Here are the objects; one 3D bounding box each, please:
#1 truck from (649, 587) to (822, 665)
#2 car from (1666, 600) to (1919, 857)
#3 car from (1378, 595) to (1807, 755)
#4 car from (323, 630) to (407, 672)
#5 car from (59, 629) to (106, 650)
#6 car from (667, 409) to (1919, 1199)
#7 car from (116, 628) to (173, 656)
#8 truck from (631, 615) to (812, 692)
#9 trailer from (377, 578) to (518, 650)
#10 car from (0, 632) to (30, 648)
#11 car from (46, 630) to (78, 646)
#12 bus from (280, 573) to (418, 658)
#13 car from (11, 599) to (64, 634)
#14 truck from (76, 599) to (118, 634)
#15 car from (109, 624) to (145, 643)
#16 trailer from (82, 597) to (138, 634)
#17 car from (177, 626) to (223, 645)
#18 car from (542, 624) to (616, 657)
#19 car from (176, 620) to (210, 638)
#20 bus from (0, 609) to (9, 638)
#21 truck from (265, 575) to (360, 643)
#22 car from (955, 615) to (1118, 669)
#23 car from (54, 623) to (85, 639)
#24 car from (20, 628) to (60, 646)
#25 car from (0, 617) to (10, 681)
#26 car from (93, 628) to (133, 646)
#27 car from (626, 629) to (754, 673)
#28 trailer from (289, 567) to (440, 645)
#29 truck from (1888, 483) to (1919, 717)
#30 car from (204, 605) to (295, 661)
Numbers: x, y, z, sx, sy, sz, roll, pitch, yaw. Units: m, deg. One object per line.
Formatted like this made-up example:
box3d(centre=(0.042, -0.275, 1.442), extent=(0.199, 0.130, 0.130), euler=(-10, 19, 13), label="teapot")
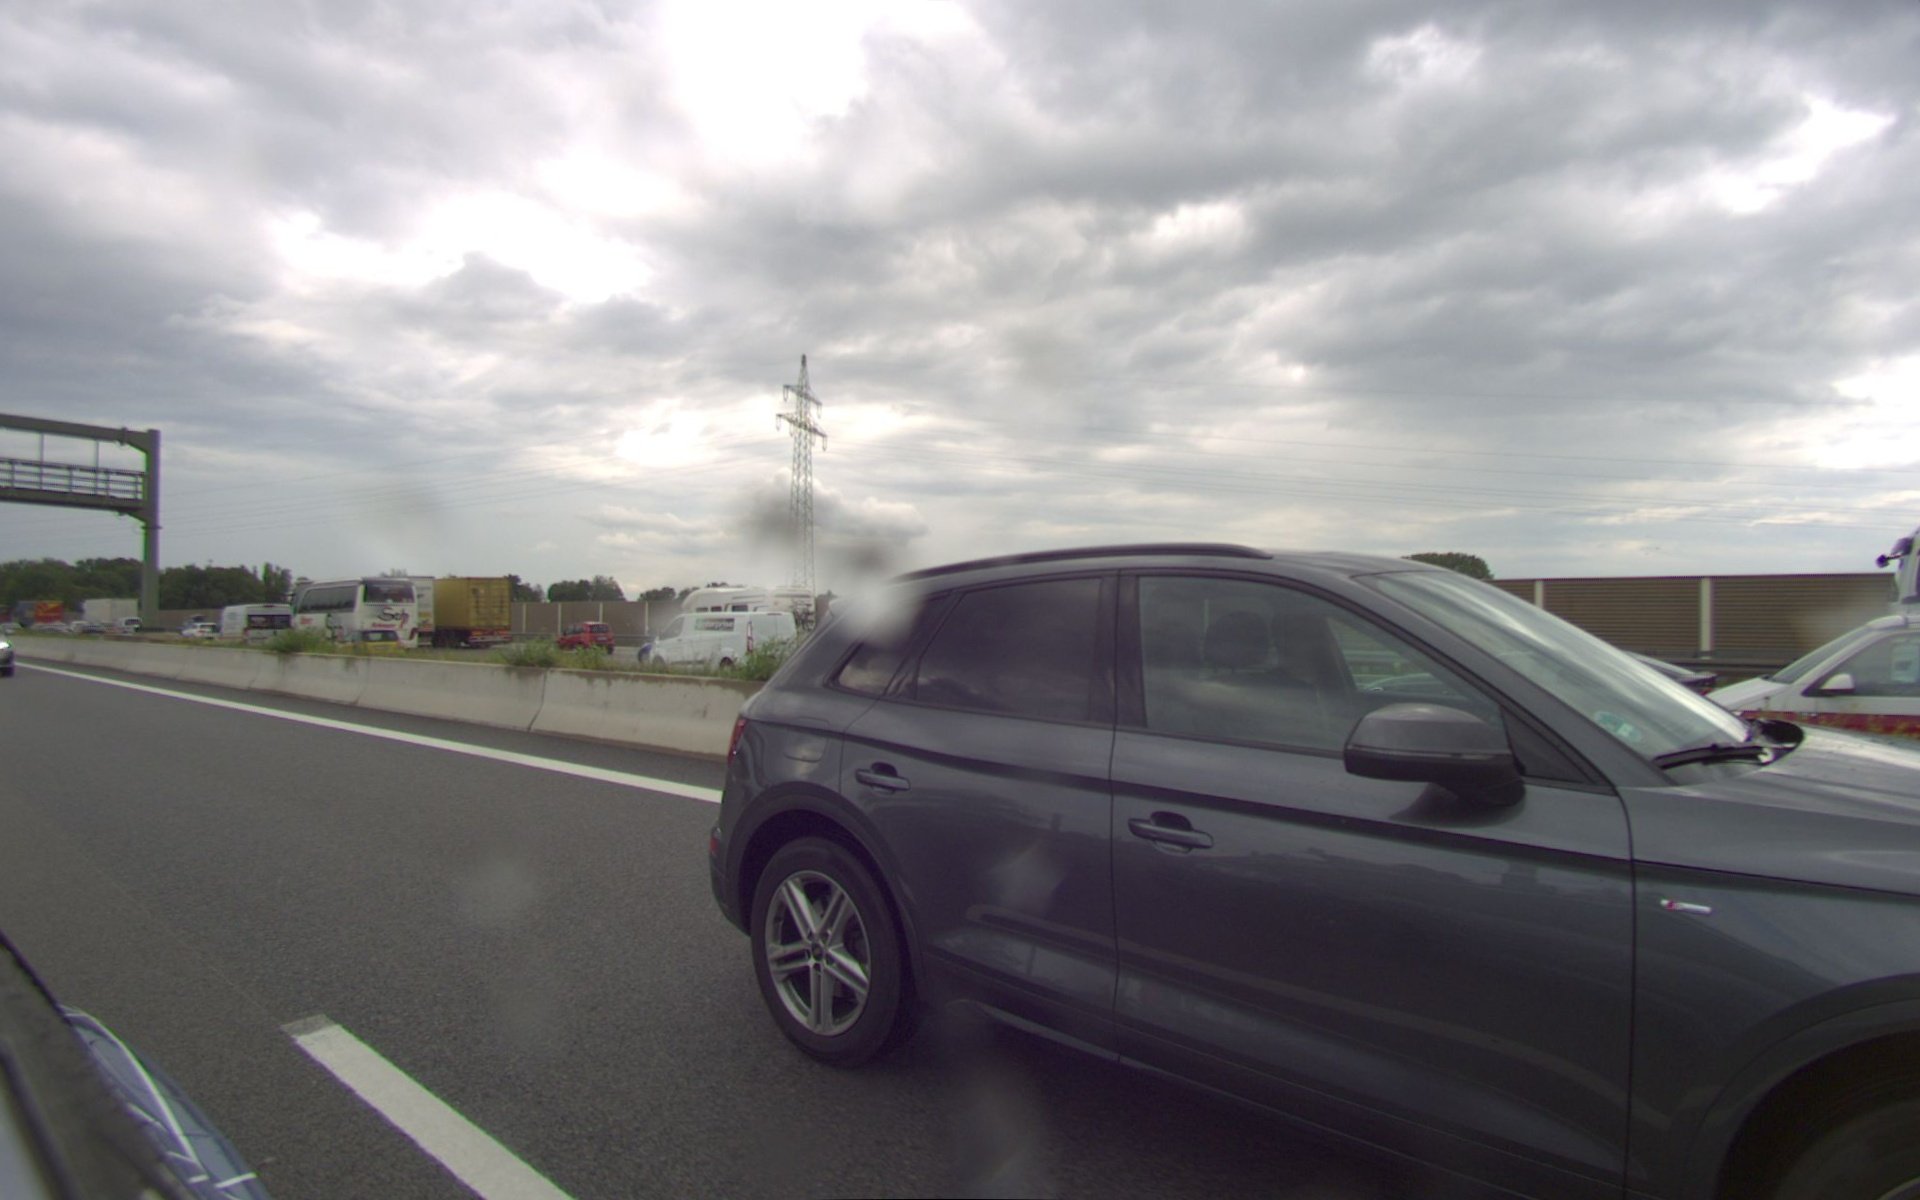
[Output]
box3d(centre=(-9.045, 1.018, 40.215), extent=(7.831, 2.835, 2.663), euler=(-1, -2, 42), label="truck")
box3d(centre=(9.844, 1.133, 9.099), extent=(5.511, 2.254, 2.206), euler=(-1, -2, 42), label="car")
box3d(centre=(9.915, 1.057, 16.217), extent=(5.539, 2.130, 2.220), euler=(-1, -2, 42), label="car")
box3d(centre=(-21.543, 1.809, 36.601), extent=(3.325, 1.399, 1.598), euler=(-1, -1, 40), label="car")
box3d(centre=(-62.245, 2.755, 71.758), extent=(4.585, 1.392, 1.770), euler=(-1, 0, 40), label="car")
box3d(centre=(1.477, 0.591, 2.717), extent=(5.166, 1.704, 1.888), euler=(-2, -2, 41), label="car")
box3d(centre=(-47.309, 2.412, 58.692), extent=(4.373, 1.551, 1.719), euler=(-1, 0, 40), label="car")
box3d(centre=(-6.931, 1.449, 29.017), extent=(5.541, 2.015, 2.221), euler=(-1, -2, 40), label="truck")
box3d(centre=(-31.093, 0.875, 60.962), extent=(12.969, 3.963, 2.997), euler=(-1, -2, 42), label="trailer")
box3d(centre=(-91.365, 3.806, 97.687), extent=(4.856, 1.437, 1.699), euler=(-1, 0, 40), label="car")
box3d(centre=(-89.159, 3.752, 100.449), extent=(4.856, 1.437, 1.699), euler=(-1, 0, 40), label="car")
box3d(centre=(-29.480, 0.761, 48.557), extent=(10.630, 3.707, 2.626), euler=(-1, -2, 42), label="bus")
box3d(centre=(-115.762, 2.127, 126.850), extent=(14.382, 4.155, 2.953), euler=(-1, -1, 40), label="car")
box3d(centre=(-105.865, 2.046, 124.104), extent=(6.616, 4.147, 2.871), euler=(-2, -1, 40), label="truck")
box3d(centre=(-77.763, 3.127, 94.465), extent=(4.574, 1.753, 1.772), euler=(-1, -1, 40), label="car")
box3d(centre=(-100.786, 1.878, 119.838), extent=(12.687, 4.147, 2.871), euler=(-1, -1, 40), label="trailer")
box3d(centre=(-58.783, 2.741, 78.283), extent=(4.856, 1.392, 1.770), euler=(-1, 0, 40), label="car")
box3d(centre=(-18.508, 1.928, 49.156), extent=(3.887, 1.554, 1.768), euler=(-1, -2, 42), label="car")
box3d(centre=(-73.995, 2.808, 97.639), extent=(3.952, 1.609, 1.770), euler=(-1, -1, 40), label="car")
box3d(centre=(-125.052, 3.076, 129.847), extent=(12.747, 3.638, 2.861), euler=(-1, -1, 40), label="bus")
box3d(centre=(-40.120, 0.574, 62.575), extent=(7.530, 3.991, 2.856), euler=(-2, -1, 40), label="truck")
box3d(centre=(2.197, 1.210, 30.206), extent=(4.771, 1.499, 1.788), euler=(-1, -2, 42), label="car")
box3d(centre=(-96.089, 3.352, 109.177), extent=(4.578, 1.603, 1.770), euler=(-1, 0, 40), label="car")
box3d(centre=(-74.685, 3.010, 82.128), extent=(4.856, 1.392, 1.770), euler=(-1, 0, 40), label="car")
box3d(centre=(-26.898, 1.303, 27.042), extent=(4.913, 1.637, 1.816), euler=(-2, -1, 42), label="car")
box3d(centre=(-71.464, 3.130, 85.385), extent=(4.856, 1.392, 1.770), euler=(-1, 0, 40), label="car")
box3d(centre=(-9.520, 1.734, 35.434), extent=(4.943, 1.396, 1.943), euler=(-1, -2, 42), label="car")
box3d(centre=(-34.037, 0.417, 57.360), extent=(14.289, 3.991, 2.856), euler=(-1, -1, 41), label="trailer")
box3d(centre=(18.956, -0.032, 16.075), extent=(6.048, 3.917, 2.723), euler=(-1, -2, 42), label="truck")
box3d(centre=(-32.852, 1.495, 46.711), extent=(5.707, 2.369, 2.114), euler=(-1, -1, 41), label="car")
